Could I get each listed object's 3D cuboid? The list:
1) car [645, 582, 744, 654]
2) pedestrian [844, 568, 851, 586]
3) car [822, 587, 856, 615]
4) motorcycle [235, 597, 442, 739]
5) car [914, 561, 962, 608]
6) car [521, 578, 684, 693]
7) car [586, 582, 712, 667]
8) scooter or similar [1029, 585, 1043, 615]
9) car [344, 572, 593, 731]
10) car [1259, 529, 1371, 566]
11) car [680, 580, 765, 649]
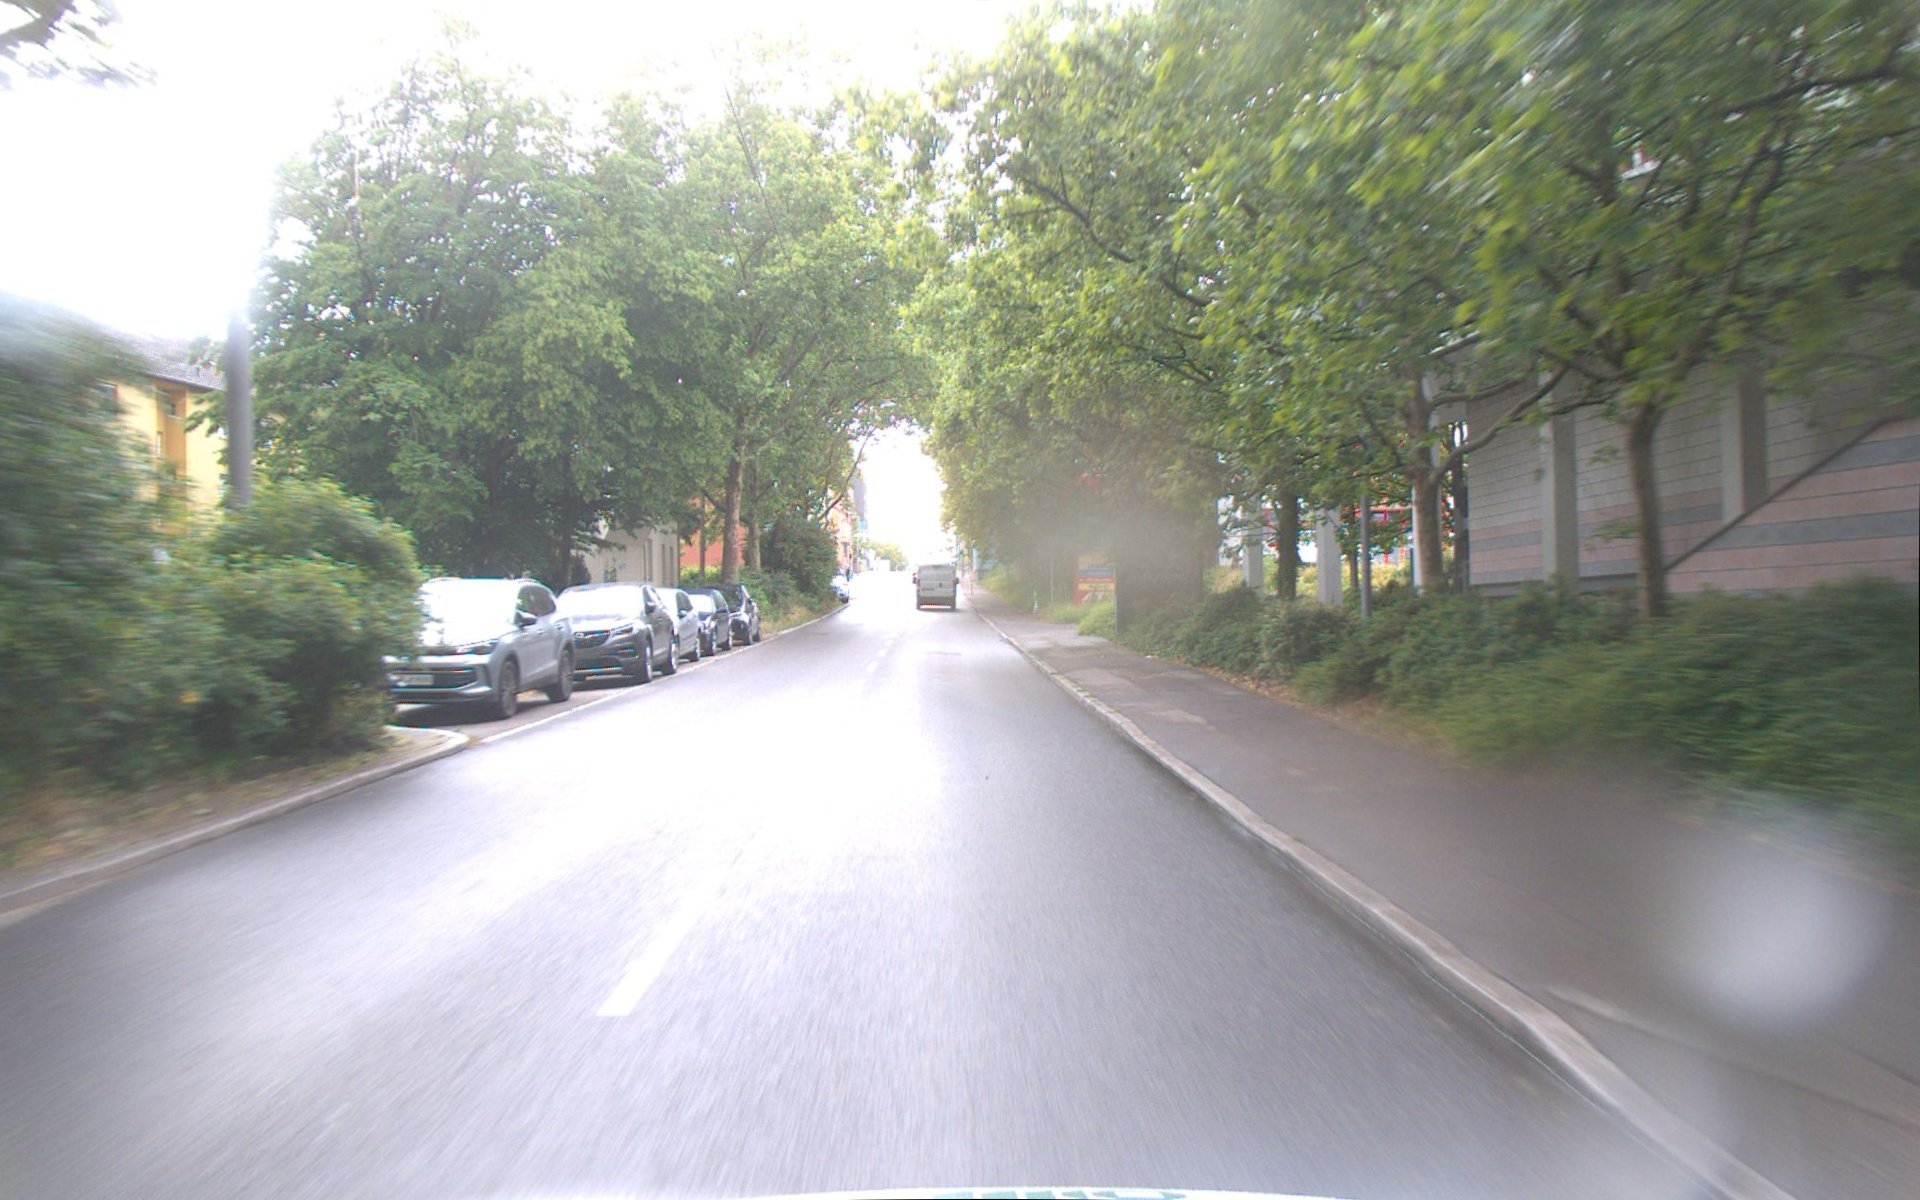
[{"bbox_3d":[-5.935,0.365,37.343,1.638,1.534,3.873,0,1,-1],"label":"car"},{"bbox_3d":[-12.840,-2.621,188.310,0.657,2.049,0.942,0,1,3],"label":"pedestrian"},{"bbox_3d":[-7.119,0.031,97.529,1.656,1.569,4.117,-2,0,-1],"label":"car"},{"bbox_3d":[-6.491,0.694,17.344,1.803,1.338,0.783,-4,0,-1],"label":"motorcycle"},{"bbox_3d":[-1.108,-0.762,83.611,2.288,2.270,3.999,-2,-1,0],"label":"car"},{"bbox_3d":[-5.716,0.514,26.936,1.827,1.619,4.237,-3,1,-3],"label":"car"},{"bbox_3d":[-6.010,0.429,32.351,1.638,1.534,4.123,0,0,1],"label":"car"},{"bbox_3d":[3.139,0.005,68.255,0.417,1.162,1.528,1,-1,-3],"label":"scooter or similar"},{"bbox_3d":[-6.138,0.552,21.230,1.699,1.686,4.564,-4,1,0],"label":"car"},{"bbox_3d":[13.956,-2.064,65.141,4.017,1.400,1.903,0,0,-1],"label":"car"},{"bbox_3d":[-6.118,0.339,42.961,1.615,1.564,4.017,-4,1,-1],"label":"car"}]
